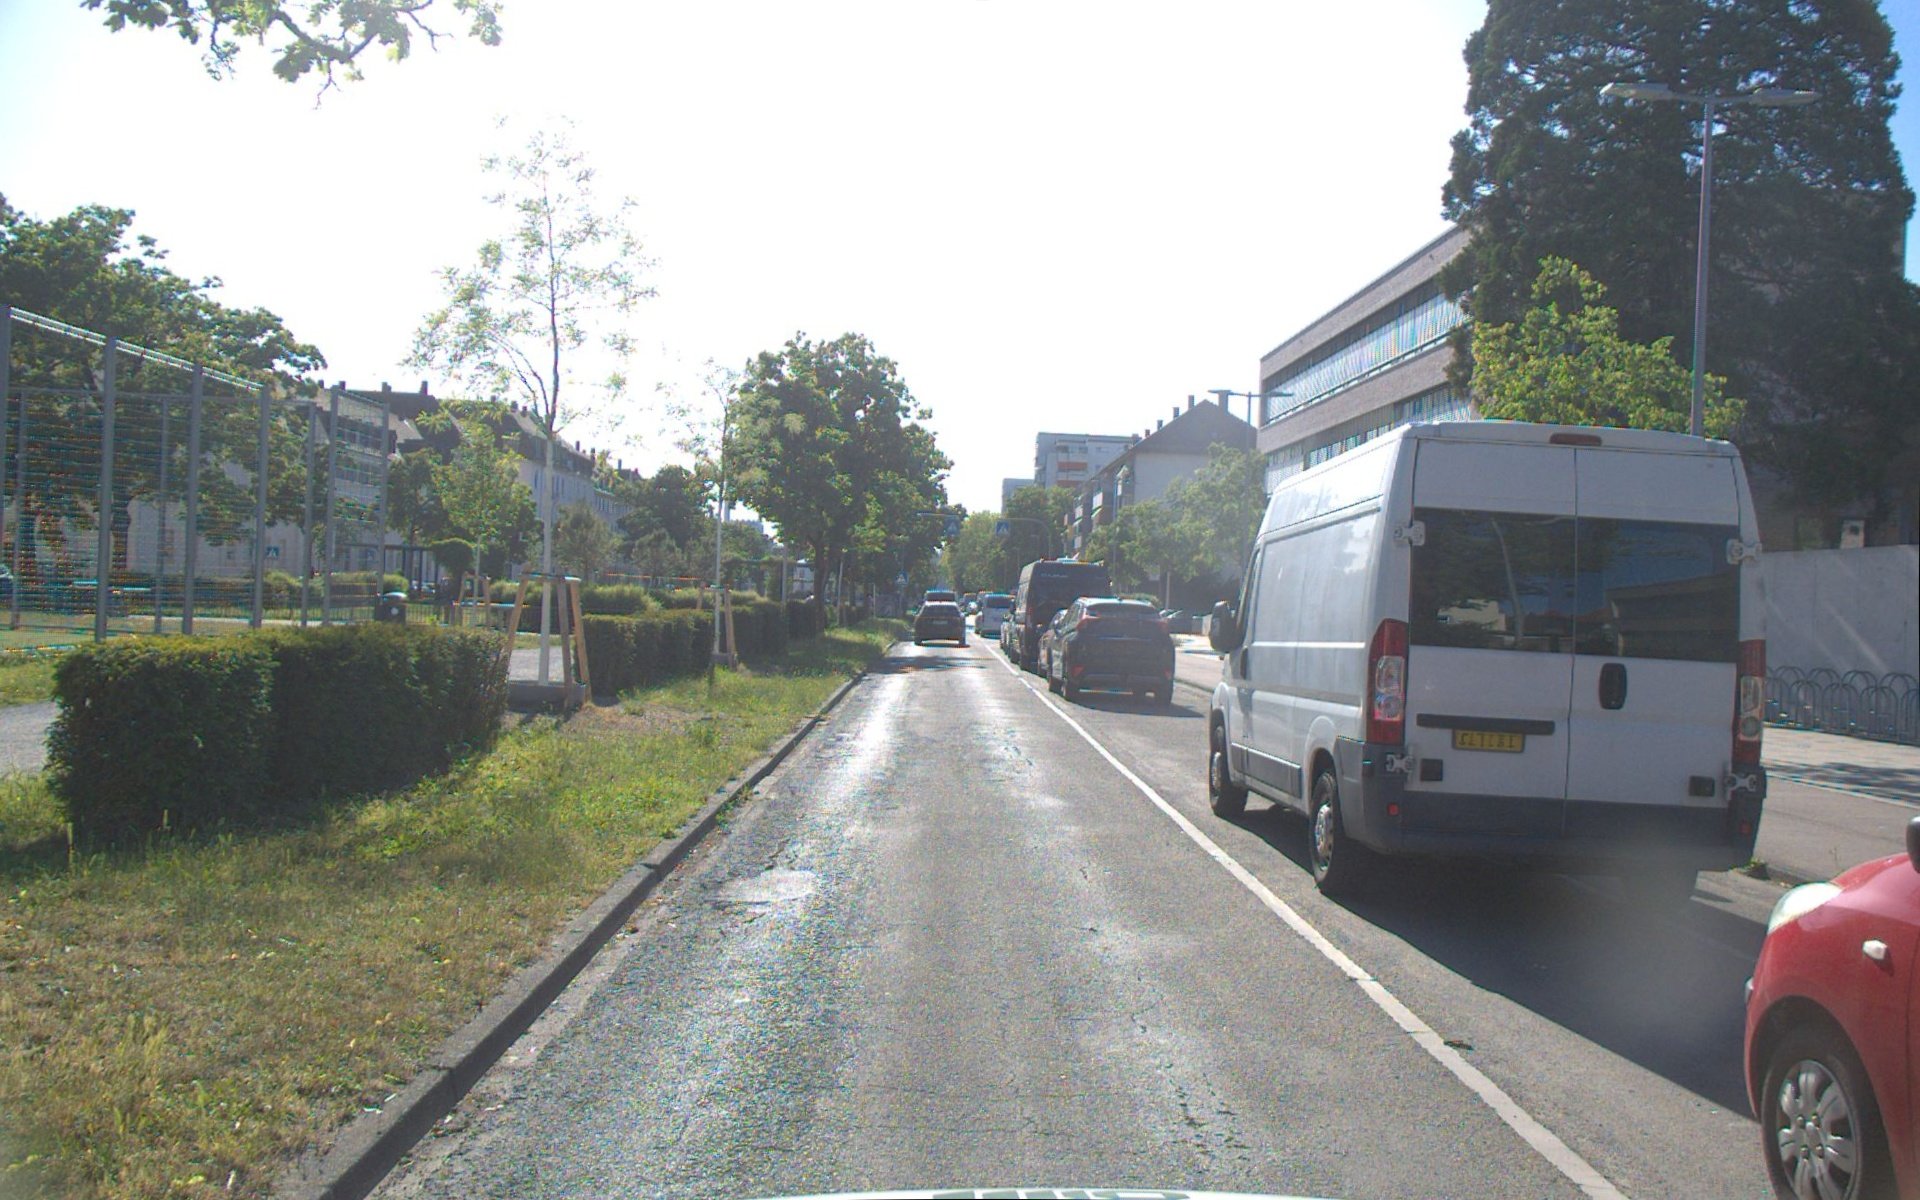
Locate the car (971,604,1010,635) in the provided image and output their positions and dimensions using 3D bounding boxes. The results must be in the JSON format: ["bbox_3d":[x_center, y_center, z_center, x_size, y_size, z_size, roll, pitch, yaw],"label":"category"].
[{"bbox_3d":[1.469,0.942,80.524,1.729,1.342,4.167,3,-1,0],"label":"car"}]

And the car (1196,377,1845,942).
[{"bbox_3d":[3.088,0.286,10.664,2.195,2.619,5.431,3,0,-1],"label":"car"}]

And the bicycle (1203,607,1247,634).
[{"bbox_3d":[11.277,0.889,70.389,1.758,1.127,0.500,0,0,-3],"label":"bicycle"}]

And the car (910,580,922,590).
[{"bbox_3d":[-6.725,-2.286,255.226,1.757,1.537,3.999,1,0,-1],"label":"car"}]

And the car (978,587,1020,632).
[{"bbox_3d":[1.741,0.399,73.885,1.757,1.887,4.414,2,0,1],"label":"car"}]

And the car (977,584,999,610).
[{"bbox_3d":[2.894,-0.331,172.257,1.953,2.472,4.499,4,0,-1],"label":"car"}]

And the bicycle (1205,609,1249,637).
[{"bbox_3d":[11.146,0.968,69.129,1.758,1.127,0.500,0,0,-3],"label":"bicycle"}]

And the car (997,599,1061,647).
[{"bbox_3d":[2.203,0.710,53.973,1.758,1.445,4.656,2,0,-1],"label":"car"}]

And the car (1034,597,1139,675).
[{"bbox_3d":[2.585,0.711,34.648,1.758,1.480,3.948,2,0,-2],"label":"car"}]

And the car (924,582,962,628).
[{"bbox_3d":[-0.813,0.222,81.688,1.758,2.159,3.999,2,0,-1],"label":"car"}]

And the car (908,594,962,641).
[{"bbox_3d":[-0.858,0.590,57.778,1.758,1.536,3.999,2,0,-1],"label":"car"}]

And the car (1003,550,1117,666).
[{"bbox_3d":[2.344,0.172,40.578,2.073,2.559,6.529,2,0,-2],"label":"car"}]

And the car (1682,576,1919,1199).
[{"bbox_3d":[2.938,0.792,2.894,1.587,1.616,3.590,2,0,-3],"label":"car"}]

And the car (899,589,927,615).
[{"bbox_3d":[-3.149,0.107,111.413,1.758,1.652,3.999,2,0,-1],"label":"car"}]

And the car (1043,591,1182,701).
[{"bbox_3d":[2.521,0.723,28.328,1.809,1.669,4.502,2,0,-2],"label":"car"}]
